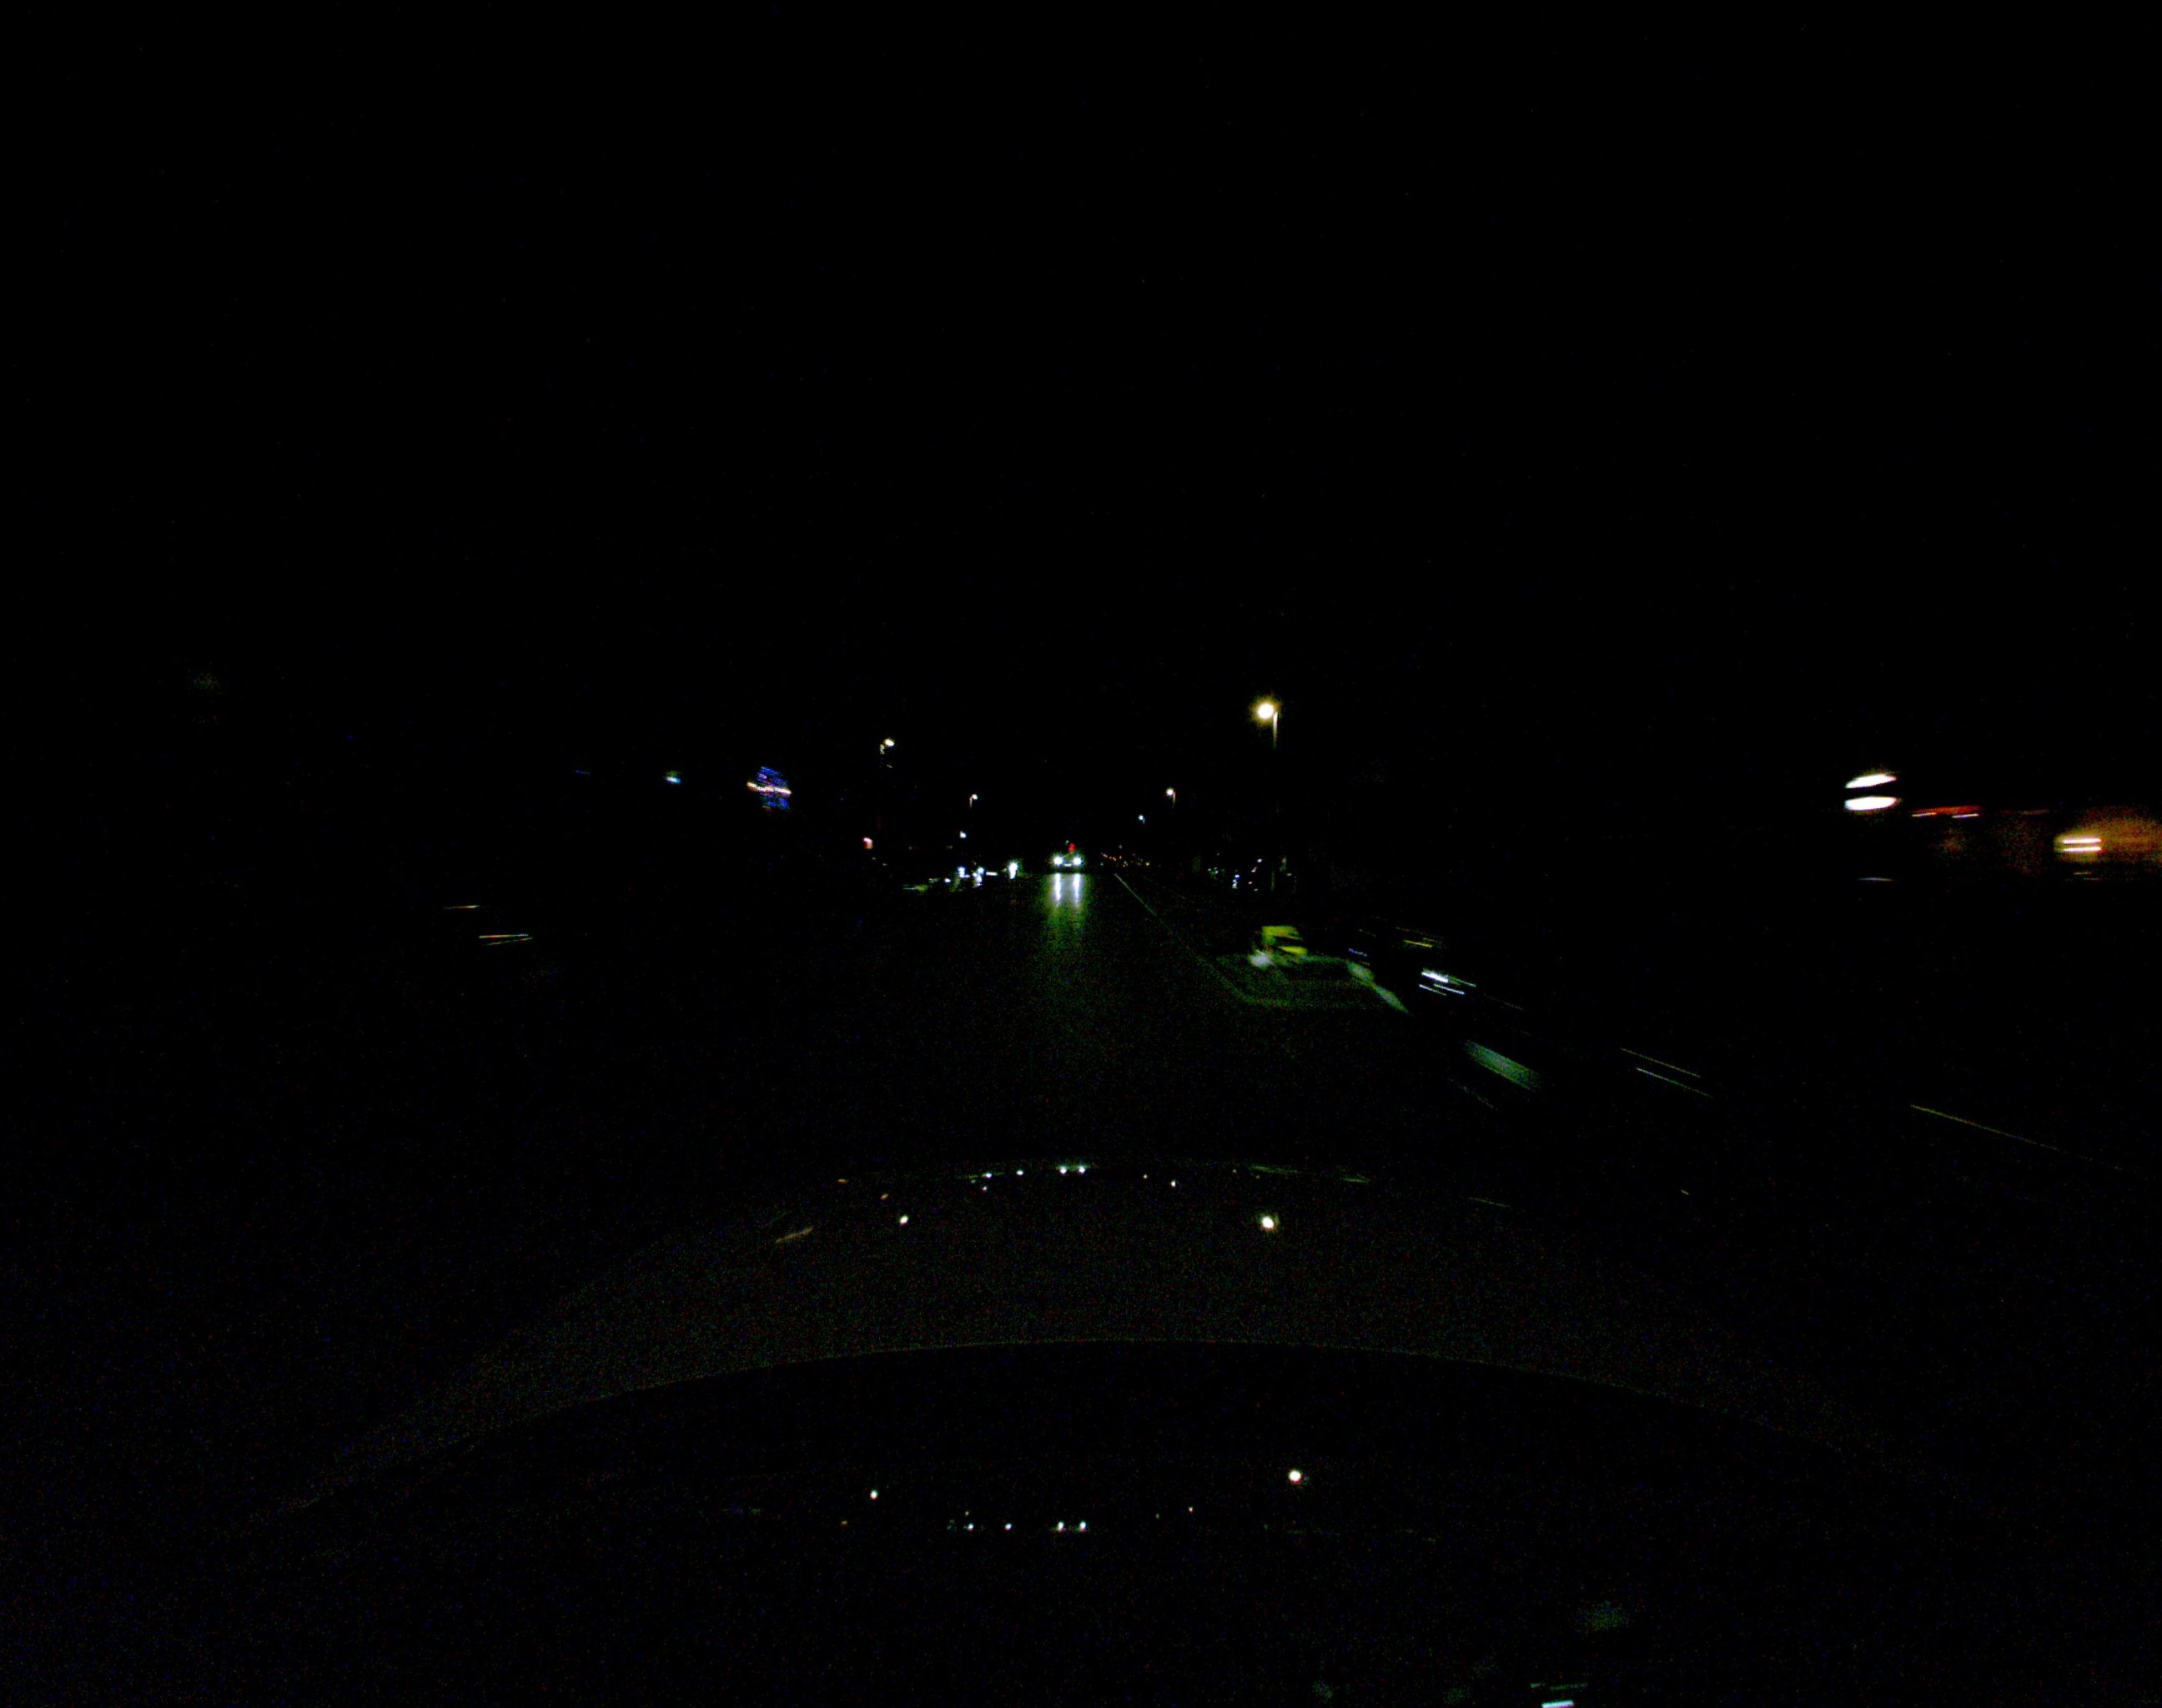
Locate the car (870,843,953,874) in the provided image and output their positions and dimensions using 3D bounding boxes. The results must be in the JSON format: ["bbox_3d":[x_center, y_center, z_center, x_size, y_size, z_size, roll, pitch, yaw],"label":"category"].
[{"bbox_3d":[-9.421,0.233,45.473,4.100,1.662,2.001,-1,0,1],"label":"car"}]

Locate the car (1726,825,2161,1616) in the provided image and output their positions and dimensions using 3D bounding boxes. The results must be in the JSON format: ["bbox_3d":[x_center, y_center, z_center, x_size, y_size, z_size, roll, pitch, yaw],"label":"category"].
[{"bbox_3d":[4.025,0.715,1.710,3.903,1.514,1.854,0,-1,0],"label":"car"}]

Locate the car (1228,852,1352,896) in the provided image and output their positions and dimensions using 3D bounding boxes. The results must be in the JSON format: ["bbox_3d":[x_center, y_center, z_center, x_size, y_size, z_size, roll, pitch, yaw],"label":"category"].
[{"bbox_3d":[7.239,0.673,28.455,3.891,1.486,1.832,0,0,0],"label":"car"}]

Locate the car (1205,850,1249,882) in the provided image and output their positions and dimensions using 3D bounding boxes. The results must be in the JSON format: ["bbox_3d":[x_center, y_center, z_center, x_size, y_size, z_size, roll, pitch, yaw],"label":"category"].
[{"bbox_3d":[7.522,0.605,42.261,1.634,1.560,3.678,1,0,0],"label":"car"}]

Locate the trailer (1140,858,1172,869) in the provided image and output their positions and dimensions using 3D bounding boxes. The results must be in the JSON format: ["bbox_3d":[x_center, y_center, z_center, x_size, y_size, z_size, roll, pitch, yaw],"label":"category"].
[{"bbox_3d":[8.604,1.111,93.405,3.421,1.002,1.954,4,0,0],"label":"trailer"}]

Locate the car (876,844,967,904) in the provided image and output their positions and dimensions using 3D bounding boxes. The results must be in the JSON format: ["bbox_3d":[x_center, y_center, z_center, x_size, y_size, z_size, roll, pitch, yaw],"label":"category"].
[{"bbox_3d":[-4.877,0.567,25.522,1.922,1.636,4.470,2,0,0],"label":"car"}]

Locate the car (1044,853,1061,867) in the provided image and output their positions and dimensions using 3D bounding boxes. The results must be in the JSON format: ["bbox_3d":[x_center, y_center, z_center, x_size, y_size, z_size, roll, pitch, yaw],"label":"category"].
[{"bbox_3d":[-3.503,0.723,101.334,1.665,1.591,3.989,2,0,3],"label":"car"}]

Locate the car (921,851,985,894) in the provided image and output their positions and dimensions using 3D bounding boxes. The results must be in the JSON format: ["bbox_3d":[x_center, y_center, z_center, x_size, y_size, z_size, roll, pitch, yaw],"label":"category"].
[{"bbox_3d":[-4.780,0.652,30.918,1.765,1.468,3.966,2,0,0],"label":"car"}]

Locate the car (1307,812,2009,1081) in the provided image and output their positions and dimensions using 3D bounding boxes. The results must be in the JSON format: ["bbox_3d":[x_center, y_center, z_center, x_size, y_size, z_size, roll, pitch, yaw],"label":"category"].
[{"bbox_3d":[4.262,0.615,6.757,4.332,1.816,2.034,0,0,6],"label":"car"}]

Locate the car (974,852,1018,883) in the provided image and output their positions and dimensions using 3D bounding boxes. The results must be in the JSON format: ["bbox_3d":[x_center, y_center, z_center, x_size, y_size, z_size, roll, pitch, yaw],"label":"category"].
[{"bbox_3d":[-4.262,0.647,41.237,1.744,1.468,4.008,2,0,0],"label":"car"}]

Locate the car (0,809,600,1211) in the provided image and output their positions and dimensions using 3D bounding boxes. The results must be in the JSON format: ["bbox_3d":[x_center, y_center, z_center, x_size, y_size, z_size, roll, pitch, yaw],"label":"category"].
[{"bbox_3d":[-5.208,0.560,4.759,2.110,1.548,4.475,2,0,-1],"label":"car"}]

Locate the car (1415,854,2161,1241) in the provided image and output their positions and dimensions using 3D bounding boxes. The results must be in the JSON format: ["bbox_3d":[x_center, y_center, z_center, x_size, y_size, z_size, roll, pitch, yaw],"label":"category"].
[{"bbox_3d":[4.056,0.775,4.227,3.906,1.514,1.853,0,0,-3],"label":"car"}]

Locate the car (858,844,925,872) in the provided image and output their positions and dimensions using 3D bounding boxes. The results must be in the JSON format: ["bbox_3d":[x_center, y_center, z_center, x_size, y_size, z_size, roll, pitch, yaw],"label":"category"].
[{"bbox_3d":[-12.196,0.233,52.633,3.983,1.703,1.944,-1,0,-7],"label":"car"}]
